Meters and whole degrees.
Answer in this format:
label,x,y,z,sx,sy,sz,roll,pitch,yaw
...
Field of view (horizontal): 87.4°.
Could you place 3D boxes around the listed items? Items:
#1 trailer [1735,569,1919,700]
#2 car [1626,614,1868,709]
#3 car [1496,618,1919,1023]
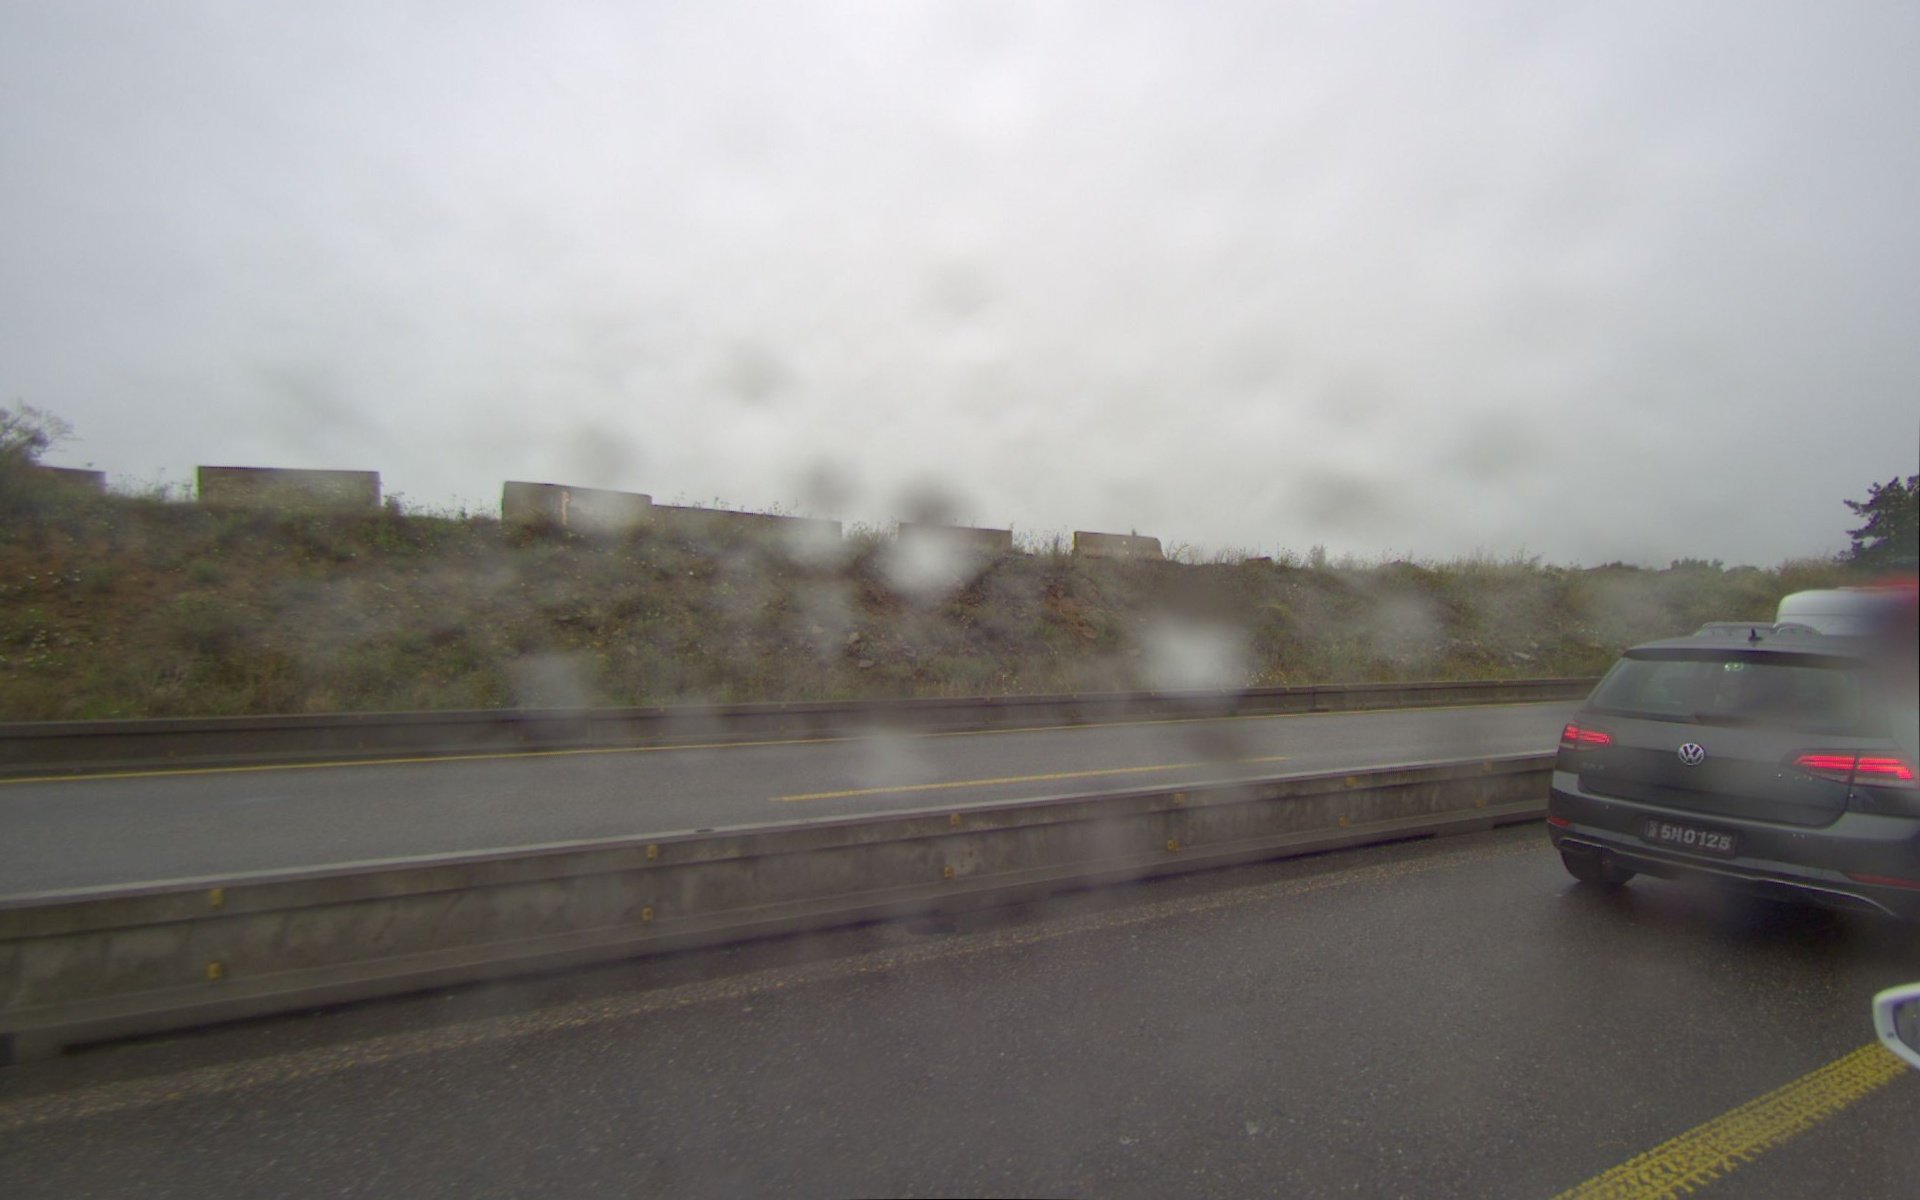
label,x,y,z,sx,sy,sz,roll,pitch,yaw
trailer,20.706,0.741,22.690,7.076,2.599,2.499,1,0,-29
car,15.444,1.138,19.643,5.058,1.608,1.984,1,0,-30
car,5.043,0.922,5.603,4.317,1.526,1.607,2,-3,-30
